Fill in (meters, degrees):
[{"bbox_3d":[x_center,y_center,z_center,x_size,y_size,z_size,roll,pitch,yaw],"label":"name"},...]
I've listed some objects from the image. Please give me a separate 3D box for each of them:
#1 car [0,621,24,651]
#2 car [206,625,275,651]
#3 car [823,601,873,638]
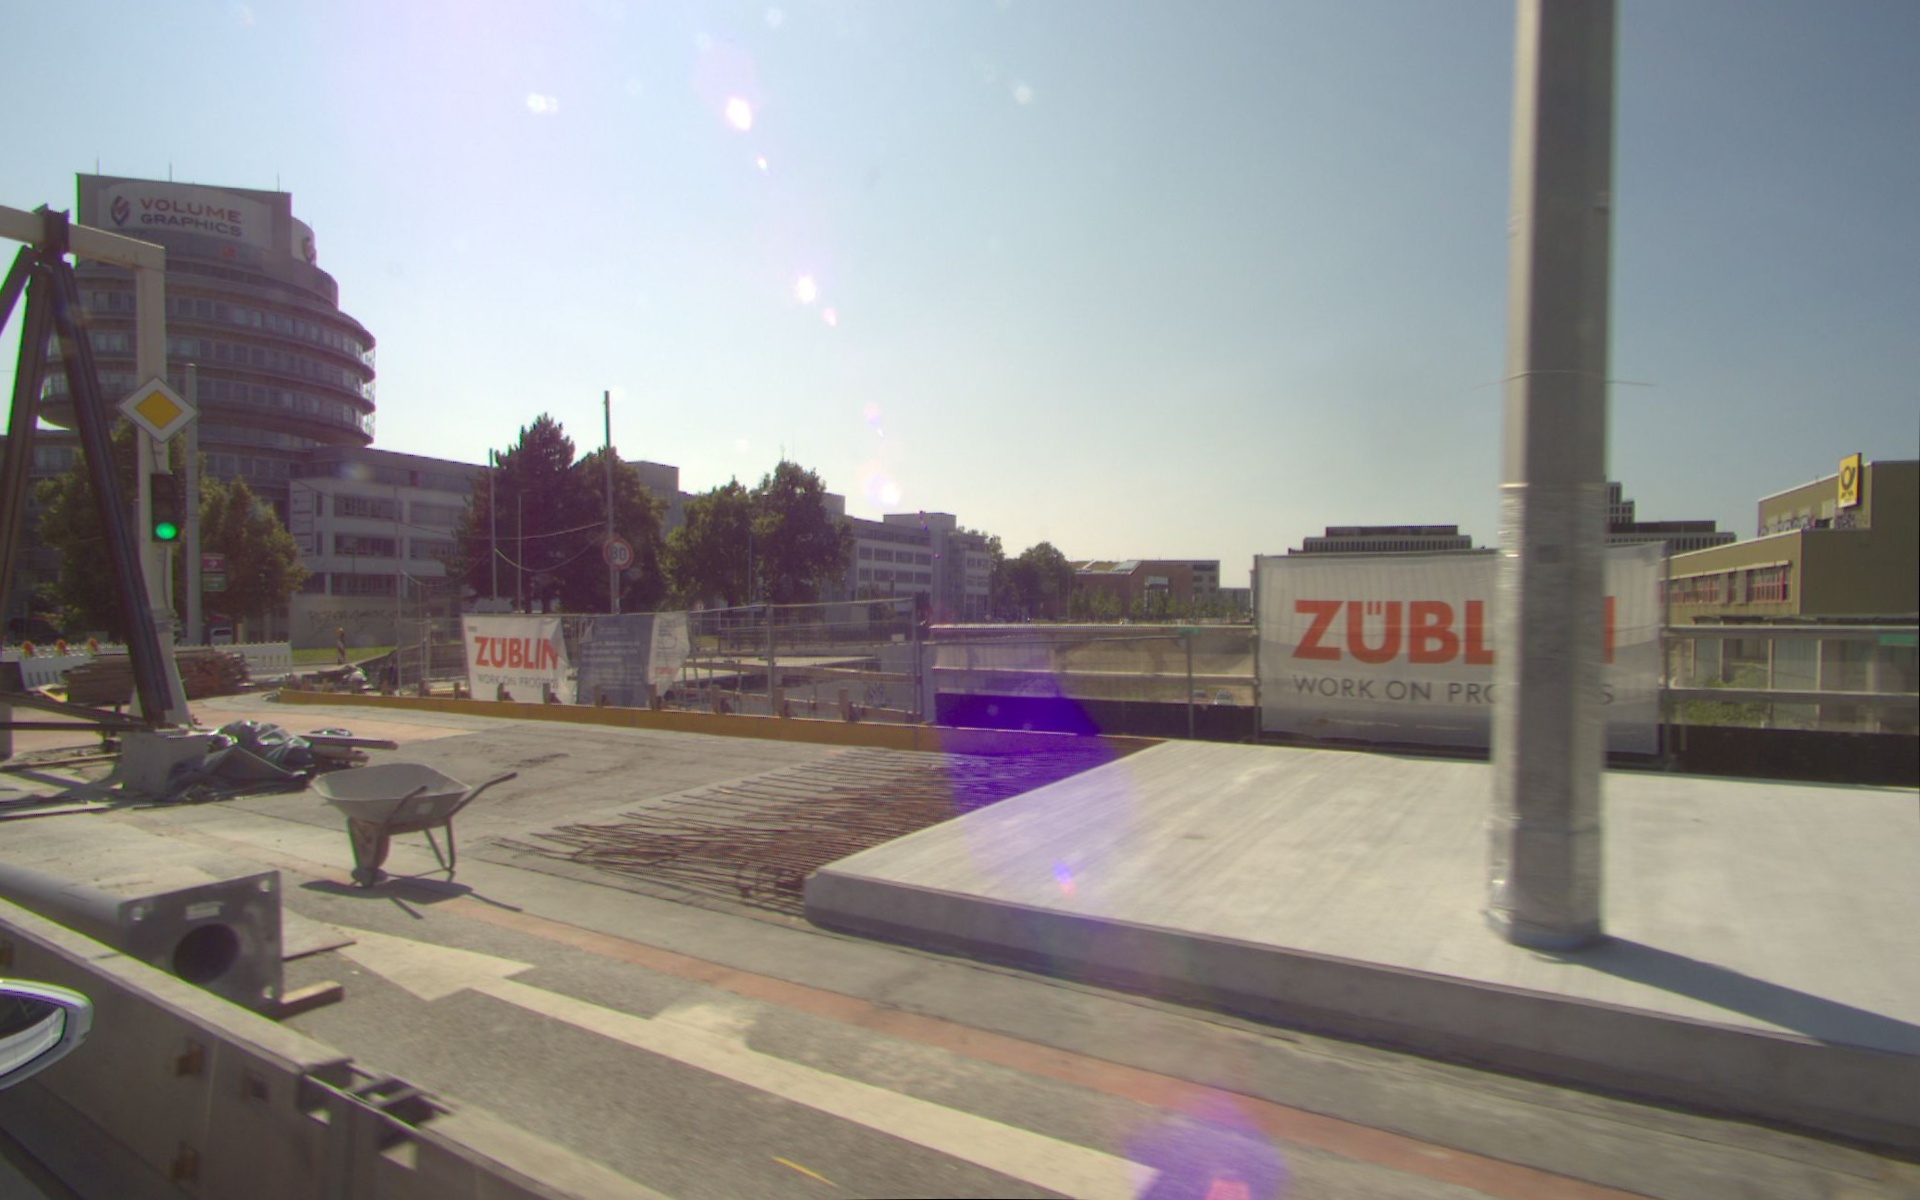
[{"bbox_3d":[-60.252,2.213,61.401,1.656,1.821,3.808,1,-1,32],"label":"car"},{"bbox_3d":[-53.119,2.798,73.971,1.656,1.821,3.808,1,-1,32],"label":"car"},{"bbox_3d":[-9.453,1.683,85.305,2.302,2.924,5.968,2,-1,13],"label":"car"}]
